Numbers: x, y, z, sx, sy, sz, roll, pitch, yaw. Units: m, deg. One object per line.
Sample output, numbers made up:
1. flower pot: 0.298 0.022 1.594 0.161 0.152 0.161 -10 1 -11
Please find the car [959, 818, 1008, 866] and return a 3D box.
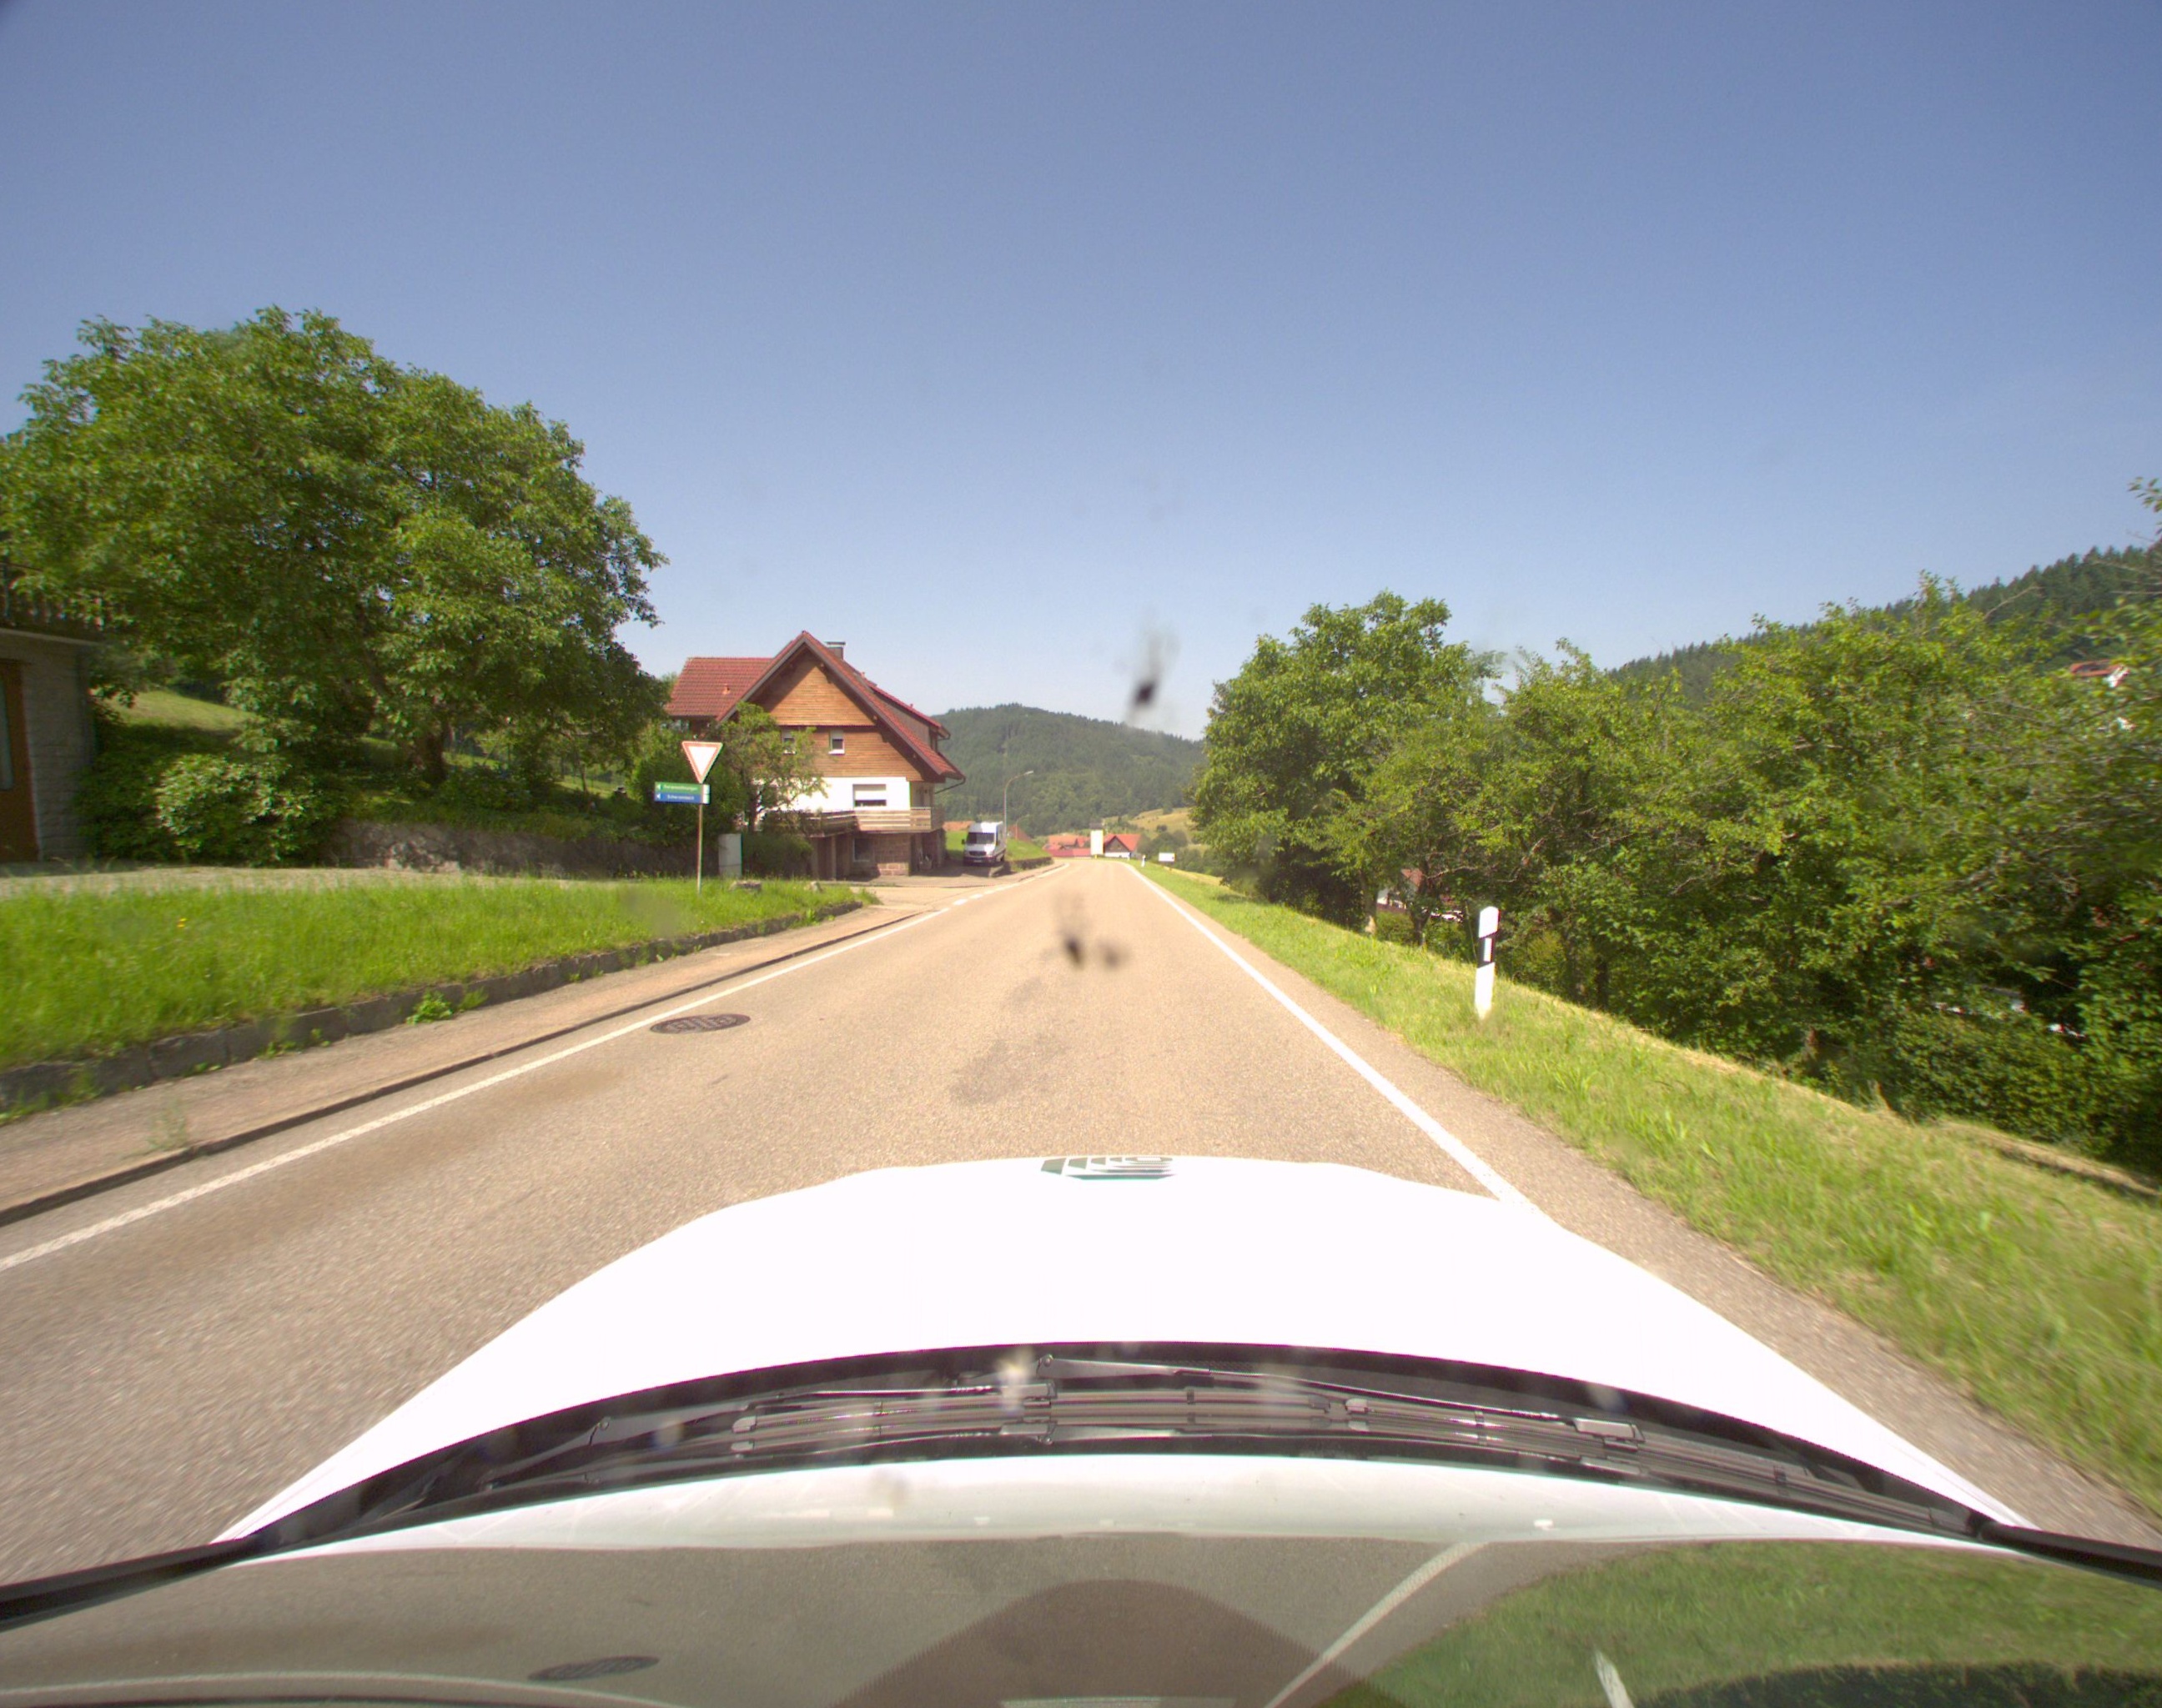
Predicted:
1. car: -6.067 -0.872 51.716 2.060 2.687 7.178 0 3 1
